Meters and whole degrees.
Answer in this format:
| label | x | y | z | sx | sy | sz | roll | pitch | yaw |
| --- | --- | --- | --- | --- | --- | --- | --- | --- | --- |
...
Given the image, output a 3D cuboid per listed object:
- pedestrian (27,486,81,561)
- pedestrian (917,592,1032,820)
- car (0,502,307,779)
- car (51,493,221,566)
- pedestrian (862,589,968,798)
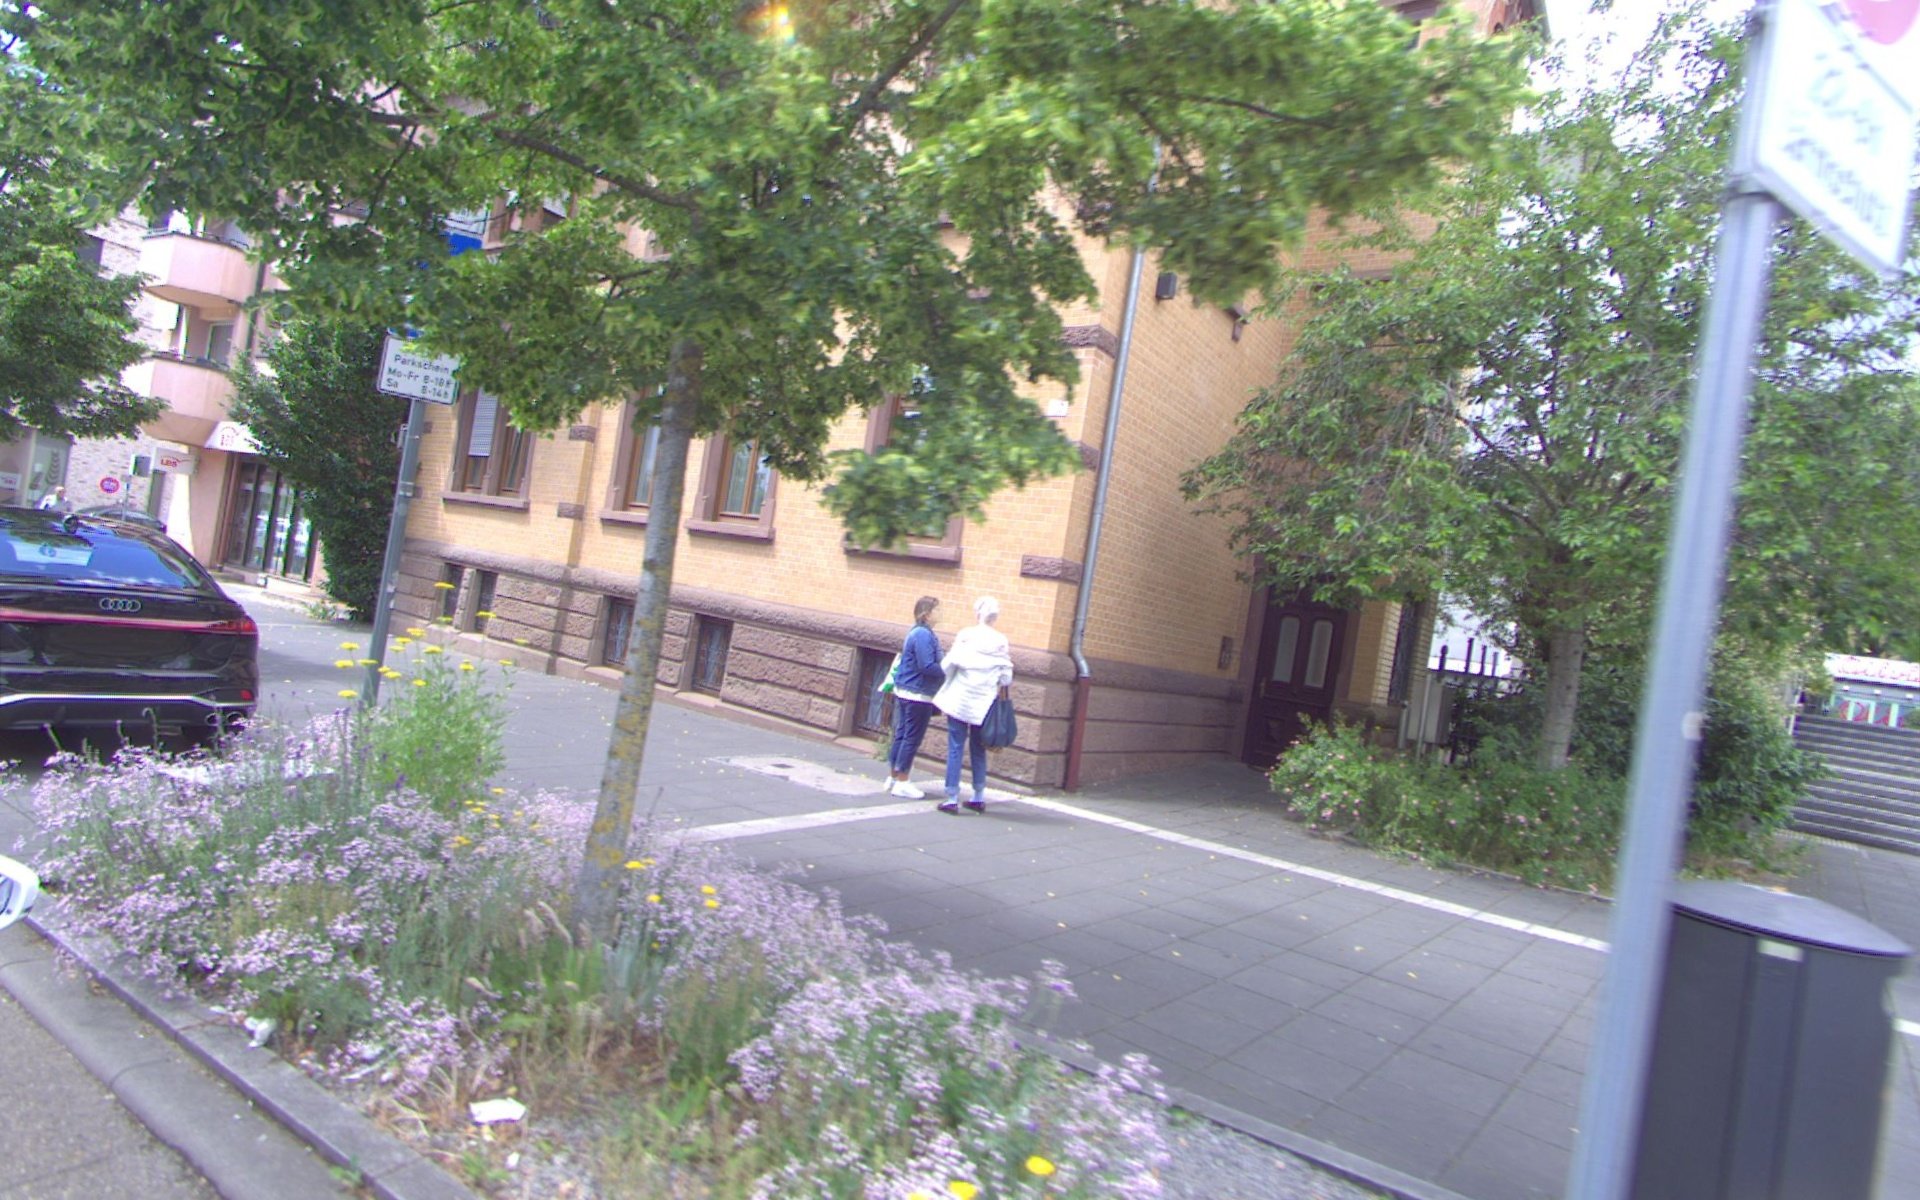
| label | x | y | z | sx | sy | sz | roll | pitch | yaw |
| --- | --- | --- | --- | --- | --- | --- | --- | --- | --- |
| pedestrian | -21.653 | -1.823 | 24.047 | 0.688 | 1.645 | 0.632 | 8 | -1 | 32 |
| pedestrian | 0.129 | 0.811 | 7.907 | 0.664 | 1.649 | 0.554 | 7 | 0 | 7 |
| car | -6.487 | 0.072 | 6.902 | 4.306 | 1.422 | 1.857 | 7 | -1 | 36 |
| car | -28.012 | -2.355 | 34.321 | 1.817 | 1.582 | 3.998 | 7 | -4 | 33 |
| pedestrian | -0.377 | 0.769 | 8.365 | 0.502 | 1.649 | 0.504 | 7 | 0 | -40 |
